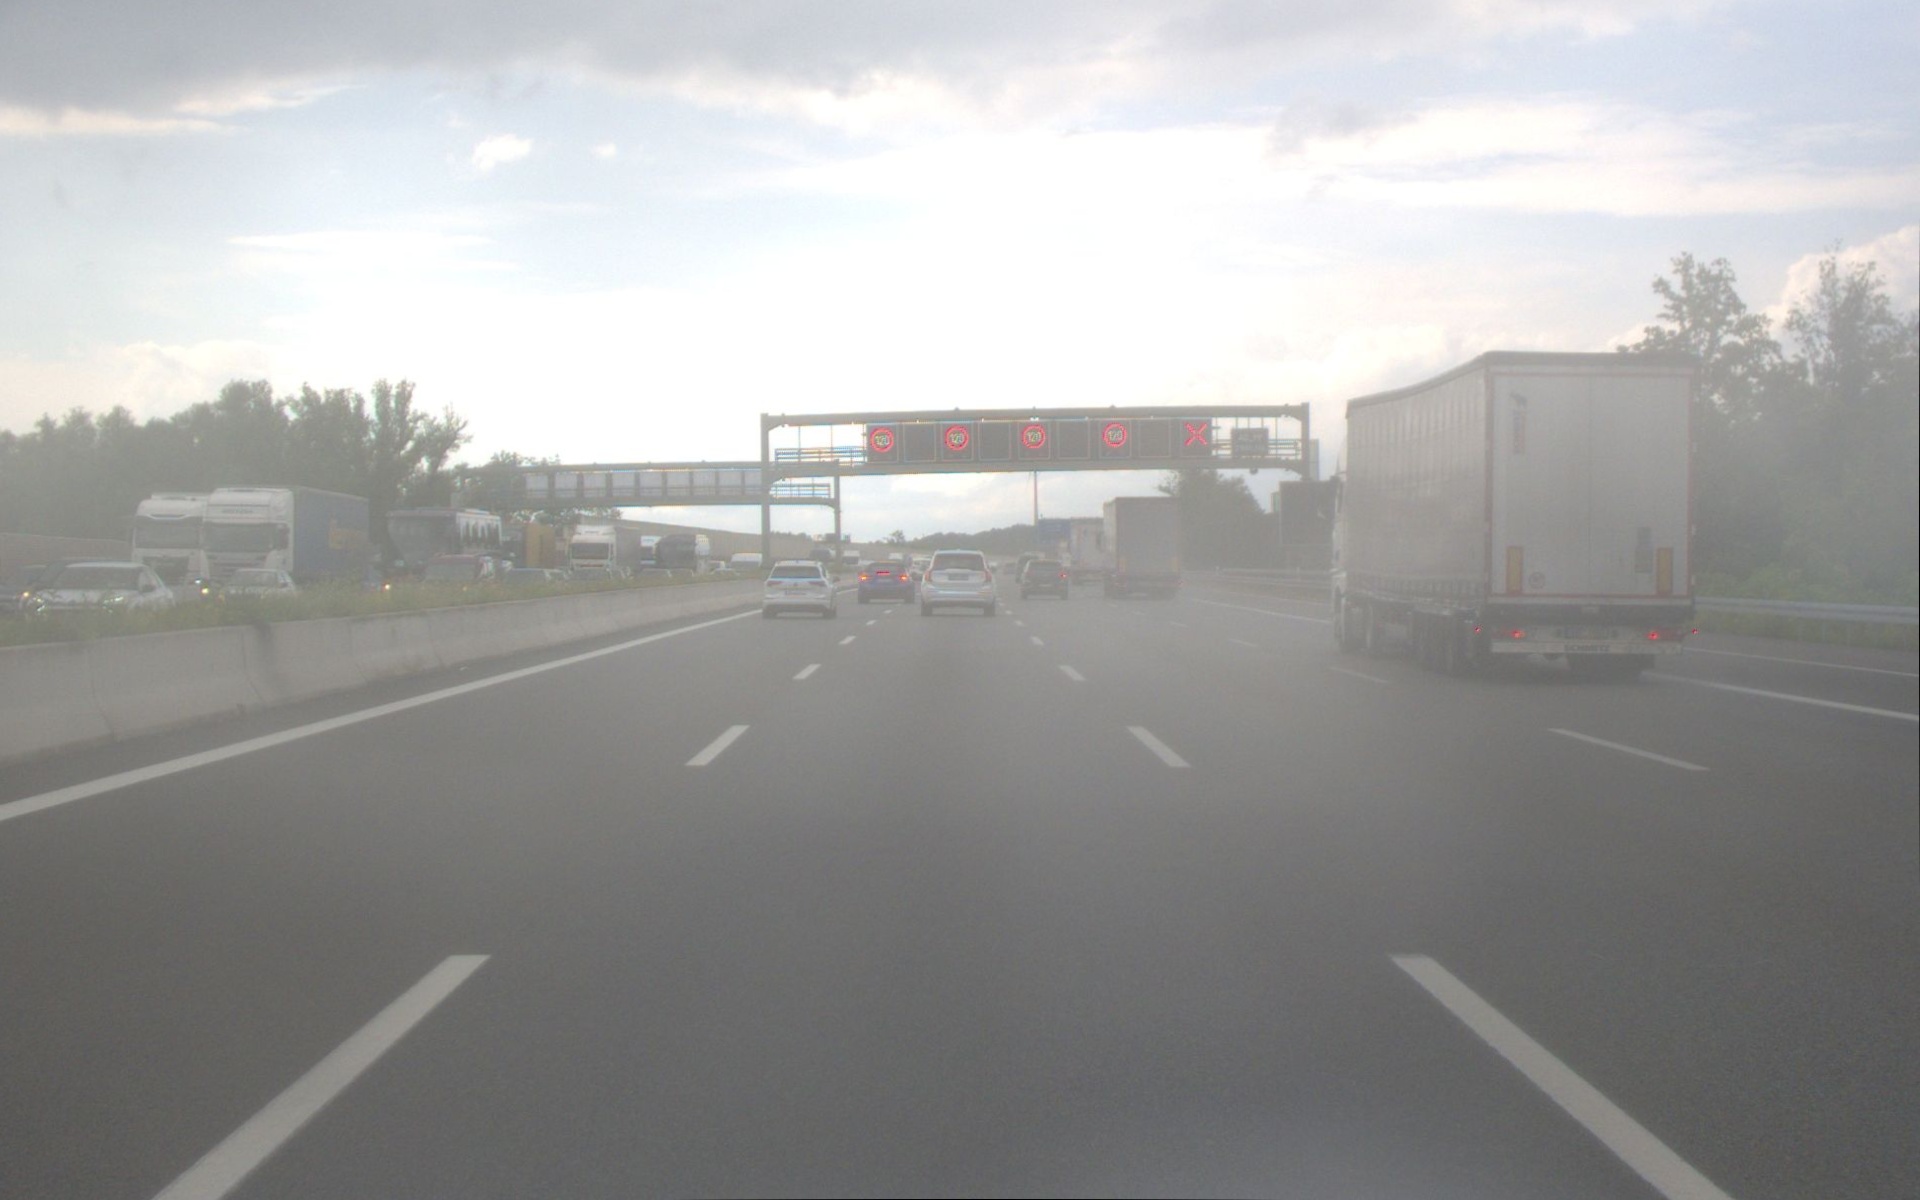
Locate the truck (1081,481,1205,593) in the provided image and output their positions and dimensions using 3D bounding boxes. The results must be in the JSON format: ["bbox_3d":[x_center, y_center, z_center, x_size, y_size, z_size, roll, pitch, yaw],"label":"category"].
[{"bbox_3d":[7.368,-2.522,140.278,4.180,4.273,12.613,1,1,-1],"label":"truck"}]

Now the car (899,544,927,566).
[{"bbox_3d":[-3.113,-2.977,228.601,1.772,1.436,4.055,1,1,0],"label":"car"}]

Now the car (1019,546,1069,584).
[{"bbox_3d":[3.241,-1.364,132.889,1.836,1.436,4.055,1,1,0],"label":"car"}]

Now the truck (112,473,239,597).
[{"bbox_3d":[-26.991,-2.219,118.557,2.900,4.102,6.623,1,1,-1],"label":"truck"}]

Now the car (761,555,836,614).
[{"bbox_3d":[-4.067,-0.410,86.871,1.772,1.436,3.874,1,1,-1],"label":"car"}]

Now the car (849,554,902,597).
[{"bbox_3d":[-2.907,-0.854,118.502,1.772,1.436,4.056,1,1,-1],"label":"car"}]

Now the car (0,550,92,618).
[{"bbox_3d":[-22.562,-0.411,83.678,1.787,1.586,4.385,1,1,-1],"label":"car"}]

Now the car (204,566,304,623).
[{"bbox_3d":[-18.913,-0.173,92.240,1.787,1.450,4.565,1,1,-1],"label":"car"}]

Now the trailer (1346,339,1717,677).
[{"bbox_3d":[7.621,-1.216,48.113,2.961,4.006,14.118,1,1,1],"label":"trailer"}]

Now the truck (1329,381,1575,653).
[{"bbox_3d":[7.655,-1.287,54.328,2.961,4.006,6.589,1,1,1],"label":"truck"}]

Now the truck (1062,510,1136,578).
[{"bbox_3d":[8.829,-3.568,220.315,4.244,4.162,11.989,1,1,0],"label":"truck"}]

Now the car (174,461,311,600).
[{"bbox_3d":[-22.200,-2.133,106.713,2.982,4.135,6.043,1,1,-1],"label":"car"}]

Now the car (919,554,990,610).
[{"bbox_3d":[-0.168,-0.492,91.532,1.772,1.436,4.056,1,1,-1],"label":"car"}]

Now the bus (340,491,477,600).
[{"bbox_3d":[-19.385,-1.899,121.588,2.890,3.599,12.760,1,1,-1],"label":"bus"}]

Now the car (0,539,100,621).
[{"bbox_3d":[-18.519,-0.416,68.324,1.787,1.557,4.565,1,1,-2],"label":"car"}]

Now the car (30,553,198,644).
[{"bbox_3d":[-14.211,-0.049,57.983,1.787,1.449,4.565,1,1,-2],"label":"car"}]
